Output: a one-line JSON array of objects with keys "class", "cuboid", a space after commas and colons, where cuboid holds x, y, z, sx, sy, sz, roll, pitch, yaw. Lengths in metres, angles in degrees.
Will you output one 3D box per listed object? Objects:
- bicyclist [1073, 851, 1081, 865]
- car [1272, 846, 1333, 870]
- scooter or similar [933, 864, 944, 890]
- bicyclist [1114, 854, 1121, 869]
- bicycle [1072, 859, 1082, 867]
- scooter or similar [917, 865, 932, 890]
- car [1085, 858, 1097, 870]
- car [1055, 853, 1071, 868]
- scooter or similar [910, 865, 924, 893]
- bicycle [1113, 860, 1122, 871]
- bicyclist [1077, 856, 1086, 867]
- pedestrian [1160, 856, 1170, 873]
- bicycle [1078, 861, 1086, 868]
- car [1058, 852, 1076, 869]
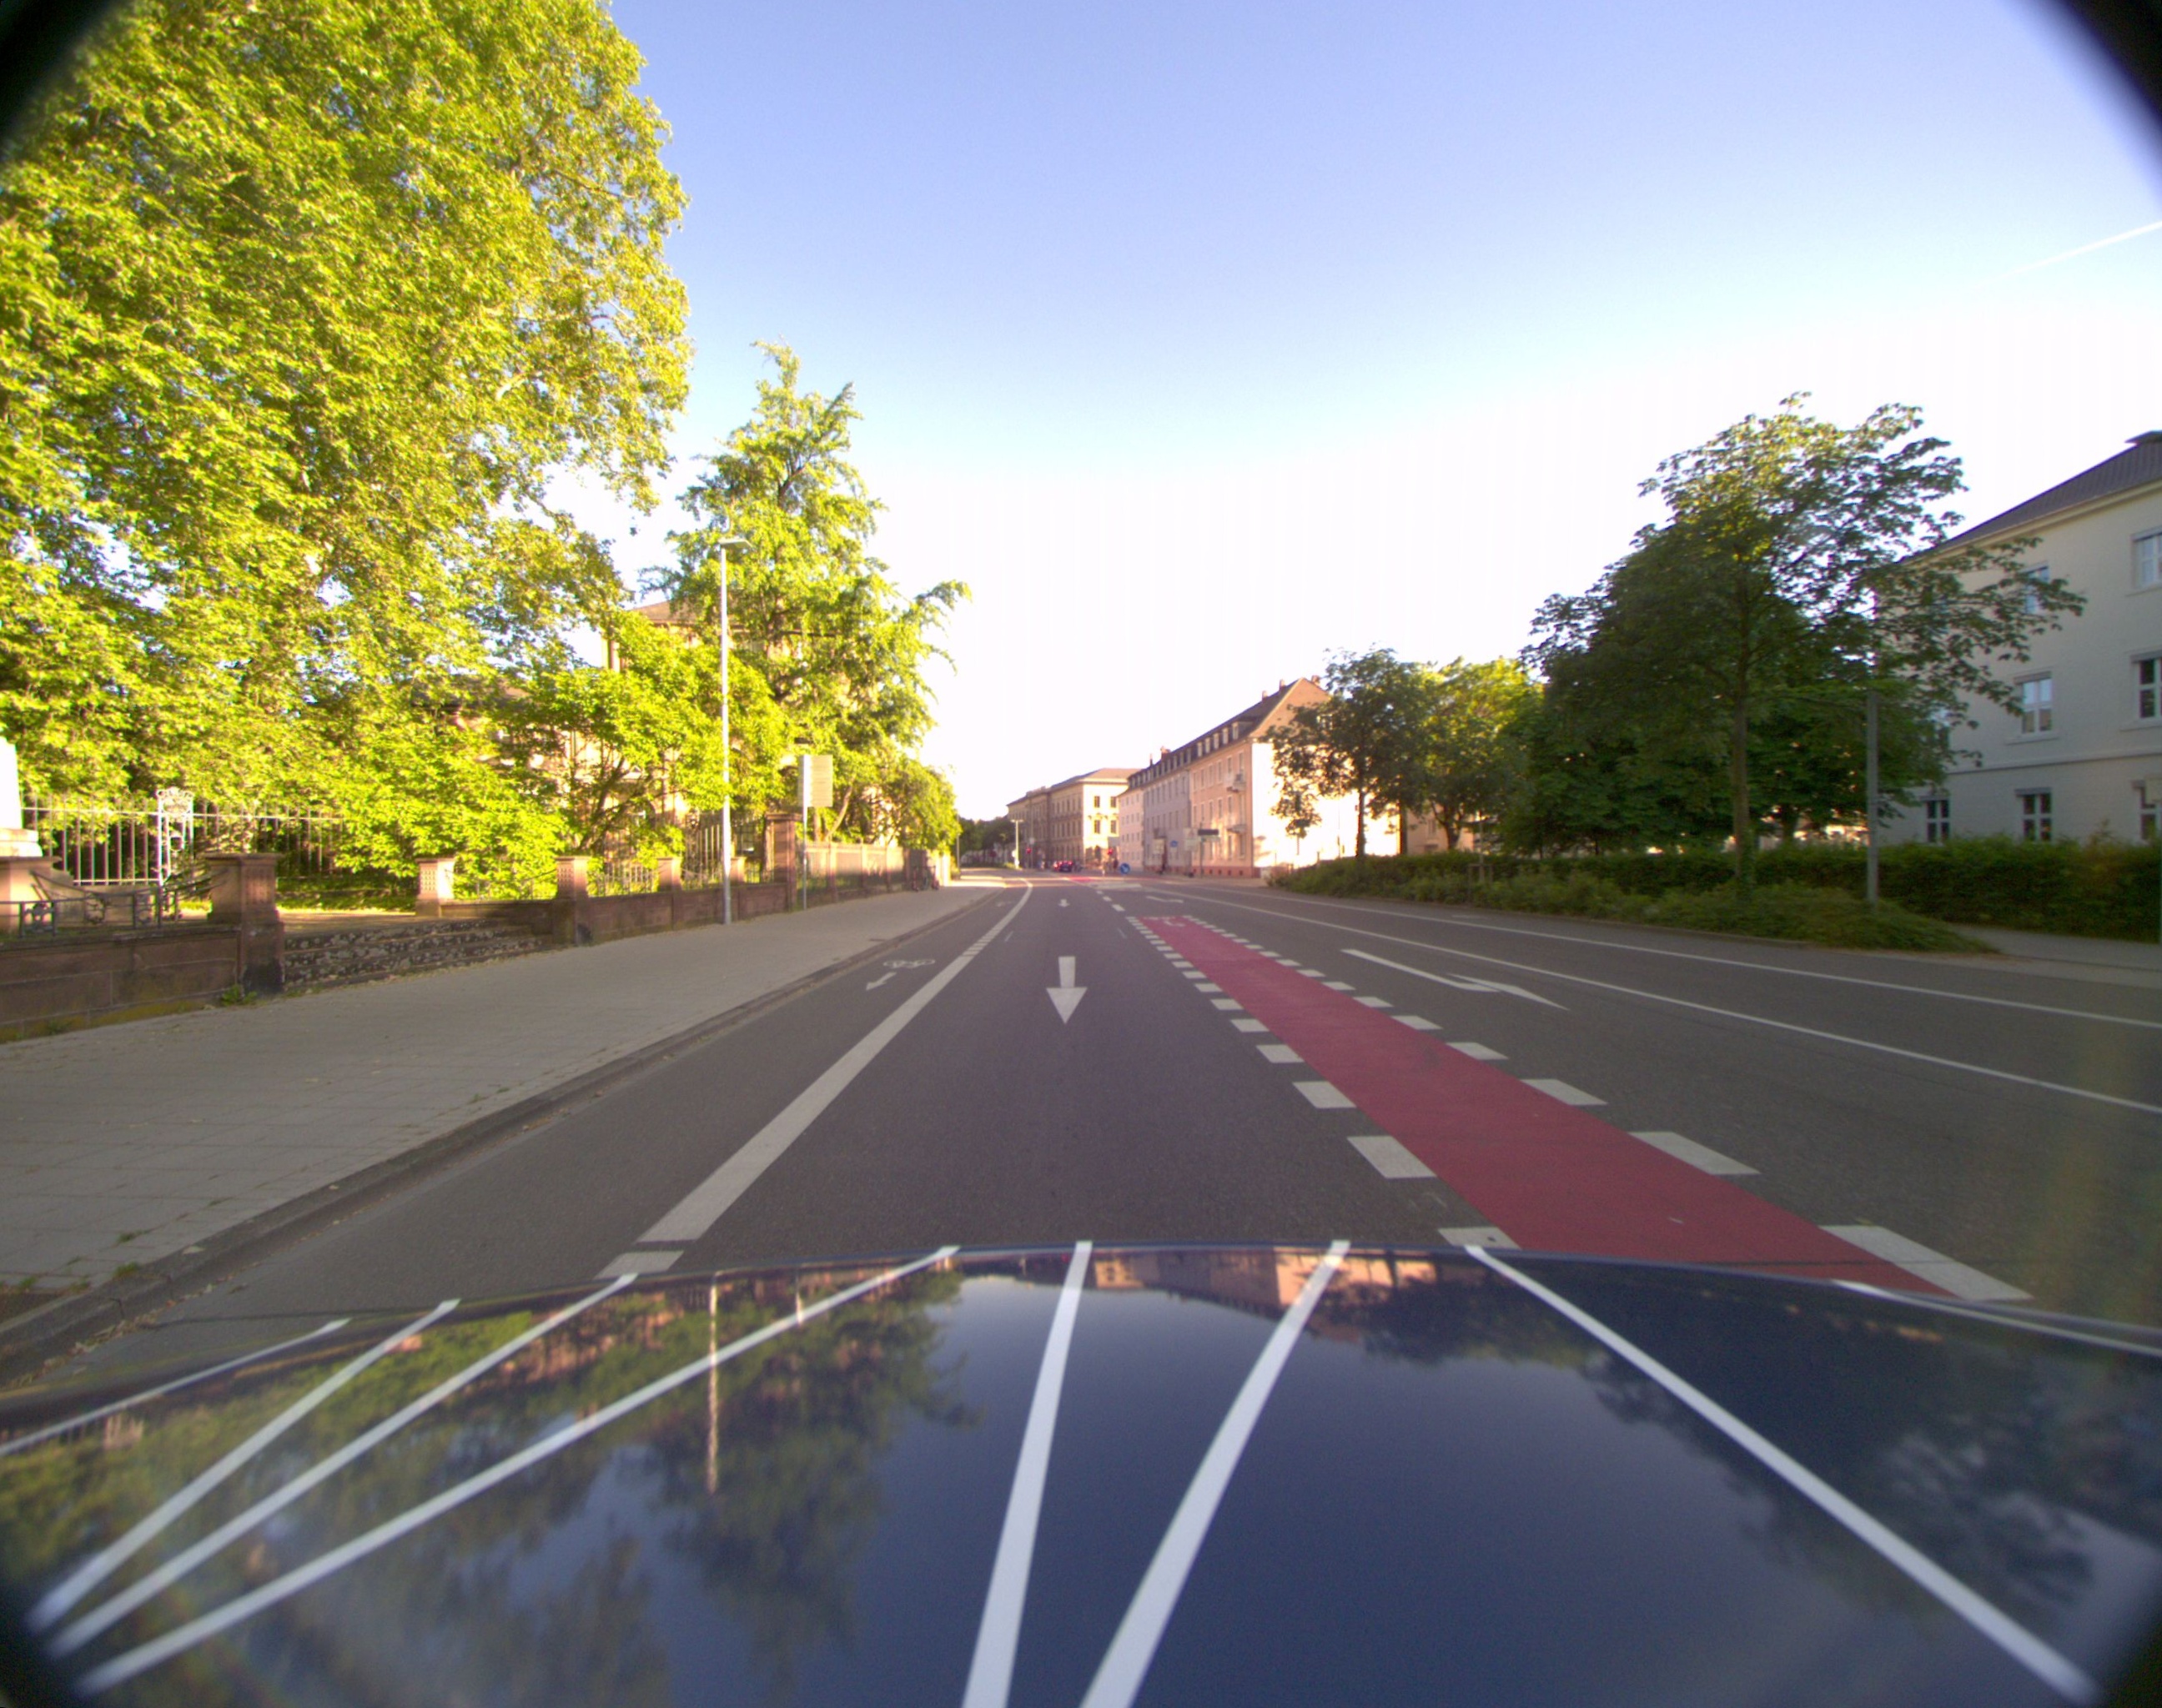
[{"class": "bicyclist", "cuboid": [-0.573, 0.564, 108.993, 0.956, 2.002, 1.307, 0, 0, -9]}, {"class": "car", "cuboid": [16.783, 0.289, 57.673, 4.000, 1.652, 1.998, -2, 1, -9]}, {"class": "scooter or similar", "cuboid": [-7.080, 1.121, 37.821, 0.517, 1.233, 1.521, 0, 0, -11]}, {"class": "bicyclist", "cuboid": [3.883, 0.776, 80.968, 0.691, 1.553, 0.838, 1, 0, -3]}, {"class": "bicycle", "cuboid": [-0.601, 1.278, 109.015, 0.956, 1.216, 2.776, 0, 0, -9]}, {"class": "scooter or similar", "cuboid": [-7.553, 1.132, 36.739, 0.576, 1.177, 1.487, 0, 0, -7]}, {"class": "car", "cuboid": [1.649, 1.723, 126.732, 1.867, 1.871, 4.000, -2, 1, 1]}, {"class": "car", "cuboid": [-2.431, 0.846, 102.230, 1.999, 2.002, 3.998, 0, 0, -5]}, {"class": "scooter or similar", "cuboid": [-7.540, 1.118, 34.887, 0.577, 1.246, 1.486, 0, 0, -15]}, {"class": "bicycle", "cuboid": [3.877, 1.229, 80.993, 0.697, 1.152, 2.245, 1, 0, -3]}, {"class": "bicyclist", "cuboid": [0.069, 0.969, 104.022, 1.026, 1.481, 0.870, 0, 0, -9]}, {"class": "pedestrian", "cuboid": [9.700, 1.179, 87.823, 0.949, 1.894, 1.062, -2, 1, -7]}, {"class": "bicycle", "cuboid": [0.074, 1.382, 103.983, 0.663, 0.907, 2.861, 0, 0, -9]}, {"class": "car", "cuboid": [-1.799, 0.811, 96.355, 1.999, 2.002, 3.998, 0, 0, -5]}]
